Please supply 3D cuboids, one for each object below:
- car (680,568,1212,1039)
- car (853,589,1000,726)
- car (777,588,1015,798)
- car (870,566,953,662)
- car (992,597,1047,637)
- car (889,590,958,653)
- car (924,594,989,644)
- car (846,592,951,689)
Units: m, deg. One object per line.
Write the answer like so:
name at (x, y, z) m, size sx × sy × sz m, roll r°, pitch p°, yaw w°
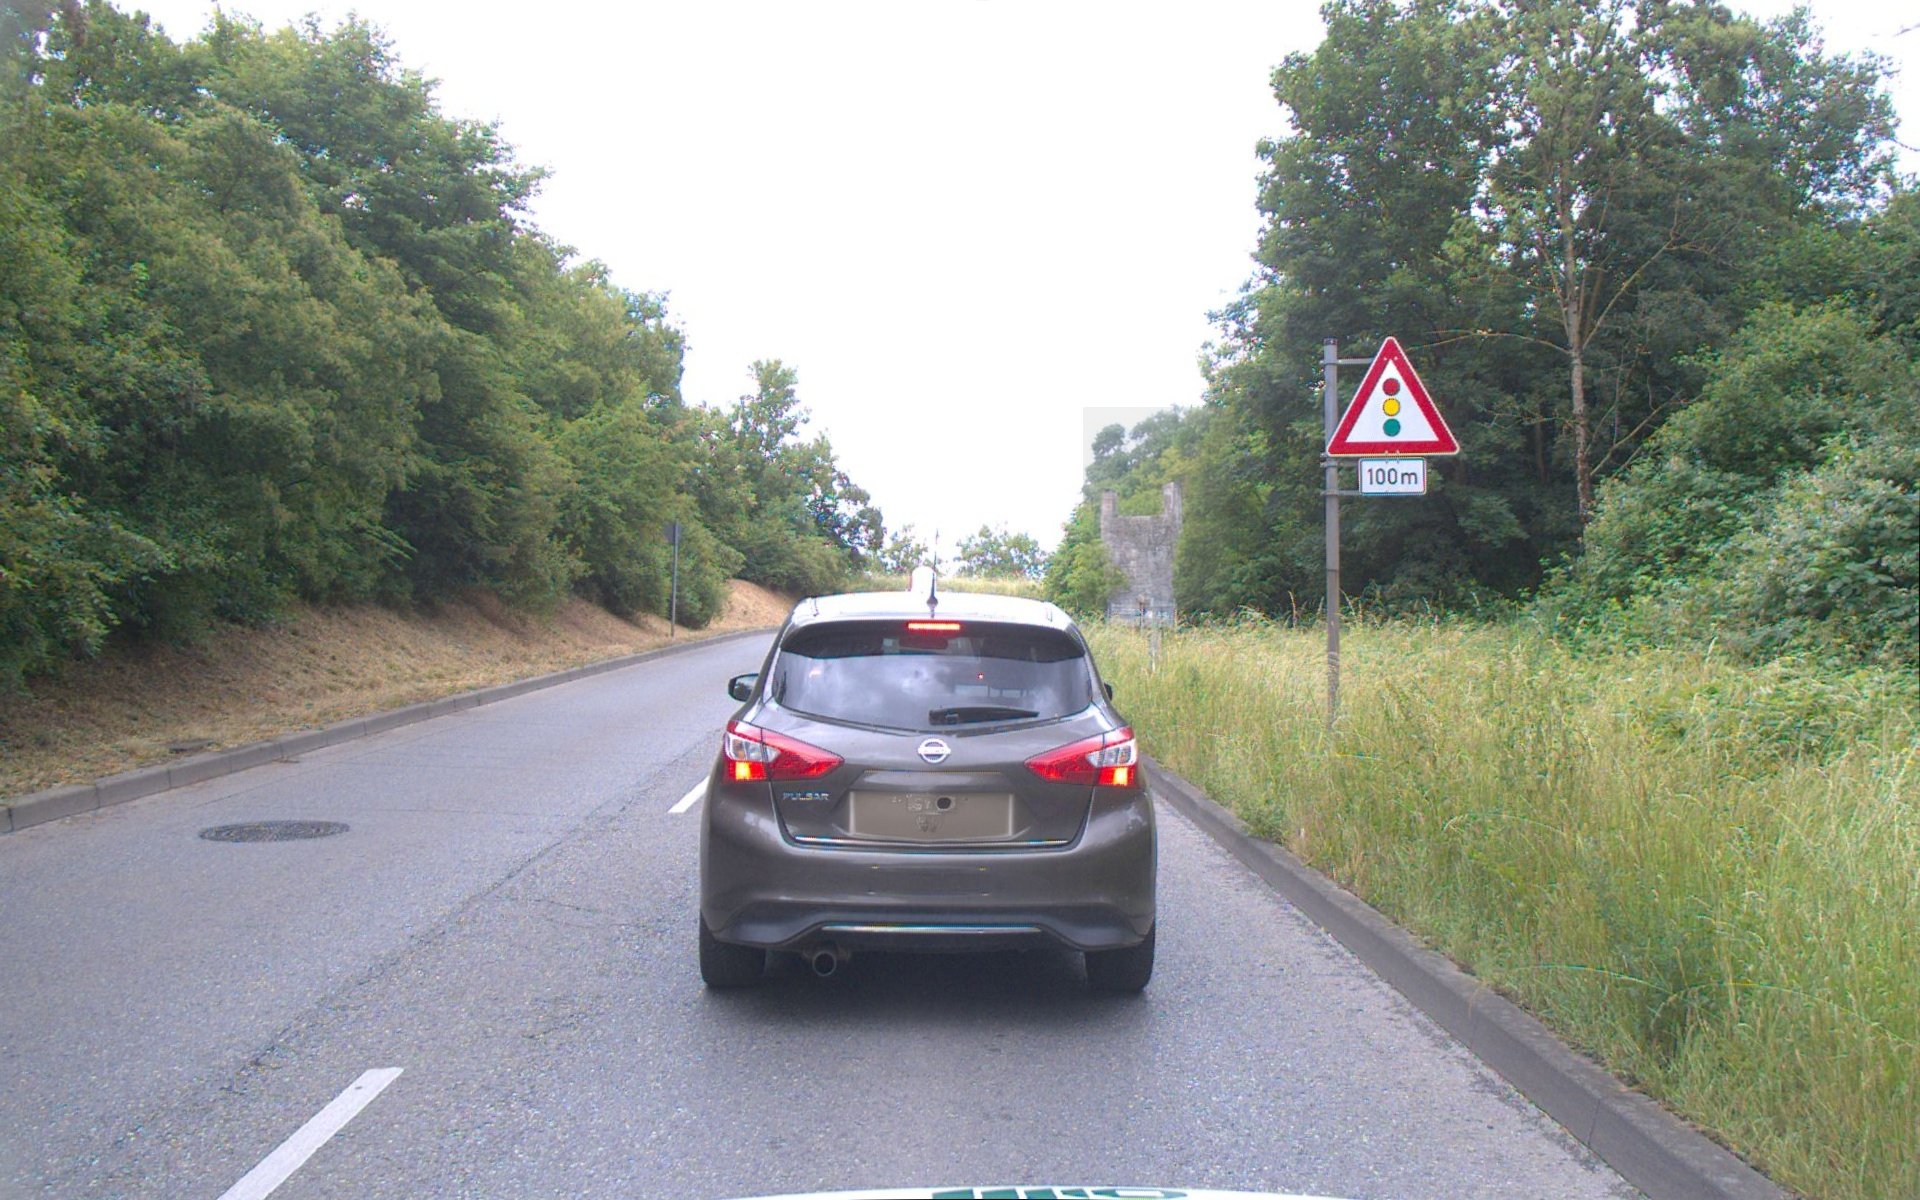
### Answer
car at (-0.111, 0.688, 7.356) m, size 1.793 × 1.583 × 3.497 m, roll 1°, pitch 0°, yaw -2°
car at (-0.403, 0.657, 20.899) m, size 1.700 × 1.583 × 3.543 m, roll 0°, pitch 0°, yaw -1°
car at (-0.496, 0.698, 14.309) m, size 1.793 × 1.583 × 3.624 m, roll 0°, pitch 0°, yaw -1°
car at (-1.045, 0.274, 35.676) m, size 1.701 × 1.968 × 3.542 m, roll 0°, pitch 0°, yaw -2°
car at (2.424, 0.658, 66.363) m, size 1.699 × 1.553 × 3.644 m, roll 0°, pitch 0°, yaw 11°
car at (-0.966, 0.523, 42.269) m, size 1.701 × 1.553 × 3.542 m, roll 0°, pitch 0°, yaw -2°
car at (-0.081, 0.598, 53.344) m, size 1.699 × 1.553 × 3.644 m, roll 0°, pitch 0°, yaw 7°
car at (-1.010, 0.651, 28.640) m, size 1.700 × 1.583 × 3.543 m, roll 0°, pitch 0°, yaw -1°
